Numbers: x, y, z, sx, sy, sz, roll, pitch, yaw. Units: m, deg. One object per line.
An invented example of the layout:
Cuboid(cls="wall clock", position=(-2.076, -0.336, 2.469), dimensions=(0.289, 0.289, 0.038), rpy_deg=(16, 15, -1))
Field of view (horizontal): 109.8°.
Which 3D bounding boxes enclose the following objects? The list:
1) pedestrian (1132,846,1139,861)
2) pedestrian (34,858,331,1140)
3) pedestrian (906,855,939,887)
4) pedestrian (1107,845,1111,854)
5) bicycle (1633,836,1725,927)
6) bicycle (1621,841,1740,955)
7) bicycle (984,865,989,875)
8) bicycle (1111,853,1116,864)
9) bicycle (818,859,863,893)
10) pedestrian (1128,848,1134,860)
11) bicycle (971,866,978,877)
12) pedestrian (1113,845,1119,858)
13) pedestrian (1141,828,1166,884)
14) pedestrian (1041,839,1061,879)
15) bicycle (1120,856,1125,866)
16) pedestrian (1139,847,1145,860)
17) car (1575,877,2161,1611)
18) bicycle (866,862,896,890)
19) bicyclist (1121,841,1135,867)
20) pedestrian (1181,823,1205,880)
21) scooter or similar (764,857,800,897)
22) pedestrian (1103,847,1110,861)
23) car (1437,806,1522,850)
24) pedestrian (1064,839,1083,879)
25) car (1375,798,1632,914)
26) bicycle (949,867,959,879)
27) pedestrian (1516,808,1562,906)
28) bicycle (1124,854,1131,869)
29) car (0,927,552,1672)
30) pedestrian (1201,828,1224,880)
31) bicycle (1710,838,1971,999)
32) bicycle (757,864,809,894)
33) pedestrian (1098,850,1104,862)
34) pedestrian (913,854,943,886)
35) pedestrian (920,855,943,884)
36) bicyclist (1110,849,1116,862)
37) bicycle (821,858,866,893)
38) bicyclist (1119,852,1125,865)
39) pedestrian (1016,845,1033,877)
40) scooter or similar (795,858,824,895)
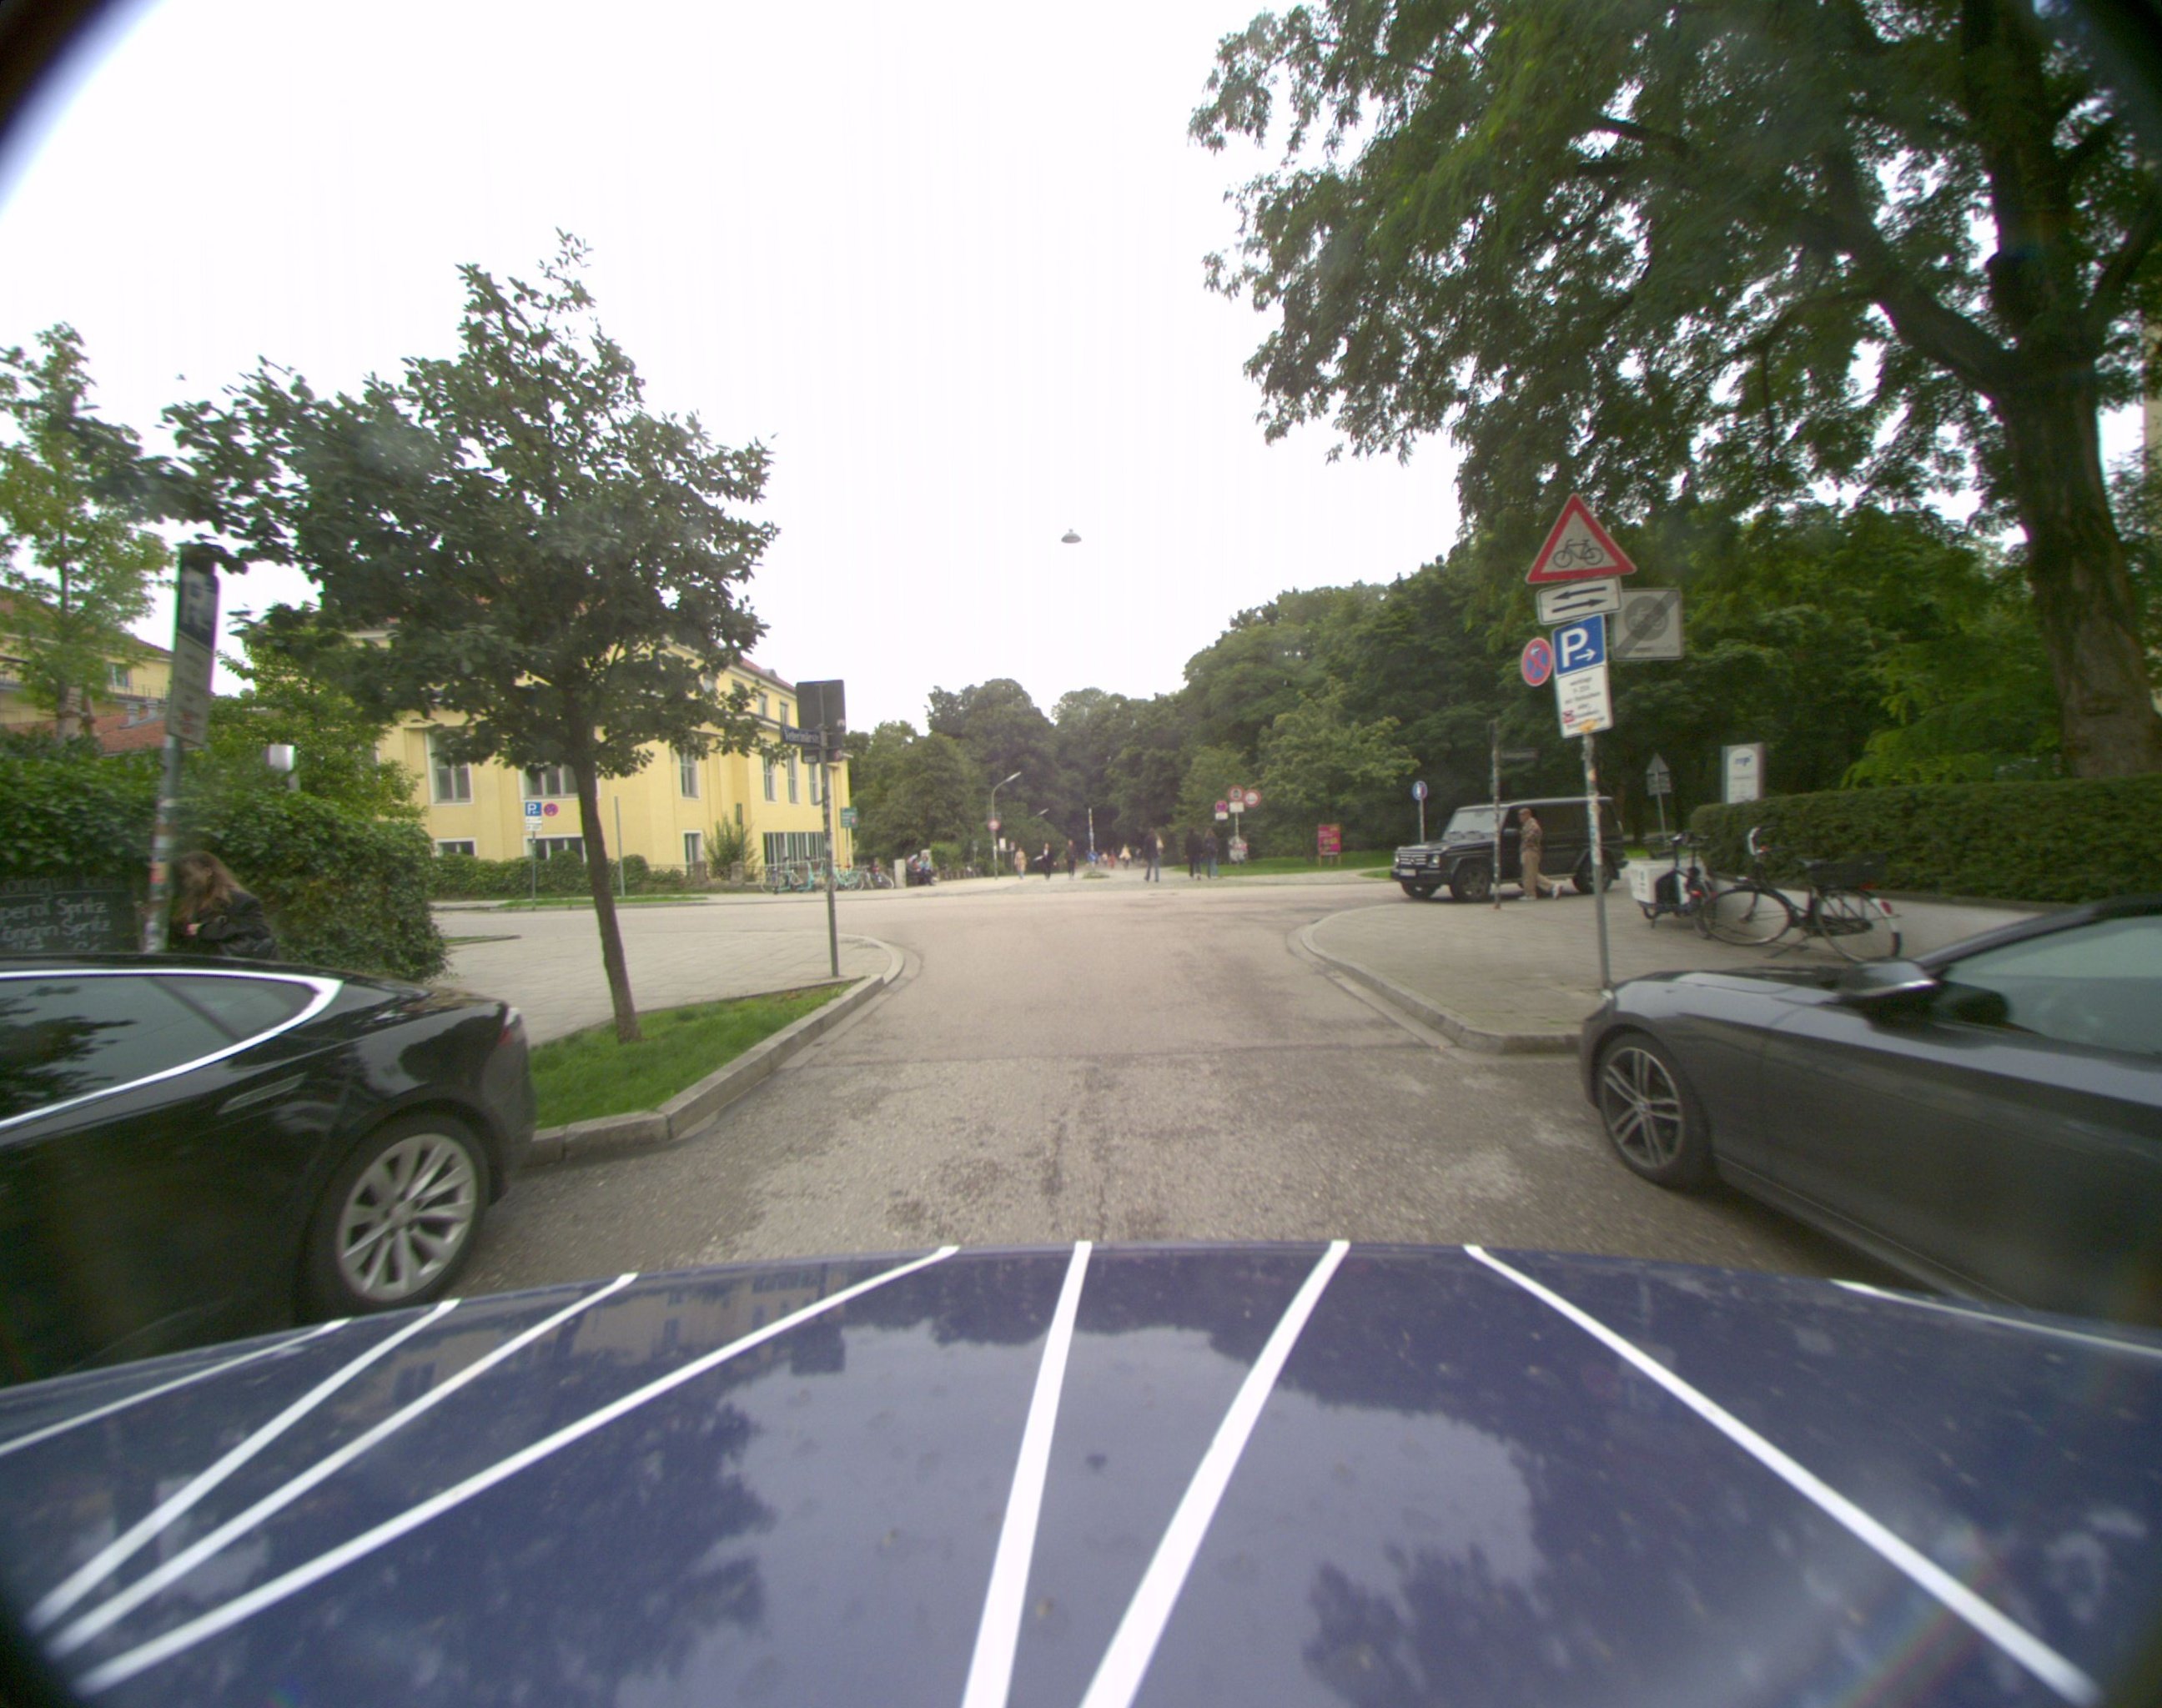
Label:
Cuboid(cls="pedestrian", position=(6.501, -0.062, 91.141), dimensions=(0.686, 1.662, 0.774), rpy_deg=(-4, -1, 2))
Cuboid(cls="pedestrian", position=(-5.749, 0.871, 4.942), dimensions=(0.706, 1.614, 0.880), rpy_deg=(-2, 3, 0))
Cuboid(cls="pedestrian", position=(-6.627, 0.701, 31.808), dimensions=(1.217, 1.240, 0.639), rpy_deg=(-4, -1, -9))
Cuboid(cls="pedestrian", position=(3.786, -0.586, 101.241), dimensions=(0.471, 1.259, 0.448), rpy_deg=(-2, 4, 1))
Cuboid(cls="bicycle", position=(8.582, 0.355, 10.874), dimensions=(1.955, 1.150, 0.582), rpy_deg=(-3, 0, -40))
Cuboid(cls="bicycle", position=(7.110, 0.459, 9.123), dimensions=(0.582, 1.120, 2.300), rpy_deg=(-3, 2, 25))
Cuboid(cls="bicycle", position=(-6.674, 1.120, 53.673), dimensions=(0.242, 0.653, 0.909), rpy_deg=(-1, 0, 2))
Cuboid(cls="bicycle", position=(3.400, 0.506, 80.741), dimensions=(0.464, 1.054, 1.760), rpy_deg=(-2, 4, 2))
Cuboid(cls="bicycle", position=(-8.599, 0.762, 27.218), dimensions=(0.202, 1.184, 1.658), rpy_deg=(-1, 0, 43))
Cuboid(cls="pedestrian", position=(7.391, 0.001, 112.692), dimensions=(0.742, 1.662, 0.922), rpy_deg=(-4, -1, 2))
Cuboid(cls="bicycle", position=(-6.893, 1.109, 49.137), dimensions=(0.215, 0.672, 0.909), rpy_deg=(-1, 0, 4))
Cuboid(cls="pedestrian", position=(4.677, -0.339, 102.280), dimensions=(0.686, 1.662, 0.774), rpy_deg=(-4, -1, 2))
Cuboid(cls="pedestrian", position=(2.445, 0.063, 25.747), dimensions=(0.751, 1.822, 1.115), rpy_deg=(-1, 0, 2))
Cuboid(cls="pedestrian", position=(-1.299, 0.207, 32.601), dimensions=(0.686, 1.662, 0.774), rpy_deg=(-4, -1, 2))
Cuboid(cls="bicycle", position=(4.311, 0.728, 79.454), dimensions=(0.464, 1.053, 1.762), rpy_deg=(-2, 0, 2))
Cuboid(cls="pedestrian", position=(7.827, -0.043, 97.363), dimensions=(0.686, 1.662, 0.774), rpy_deg=(-4, -1, 2))
Cuboid(cls="car", position=(3.109, 0.860, 1.438), dimensions=(1.750, 1.402, 4.097), rpy_deg=(-1, 1, 1))
Cuboid(cls="bicycle", position=(-7.582, 0.831, 28.896), dimensions=(0.307, 1.032, 1.656), rpy_deg=(-1, 0, 16))
Cuboid(cls="bicyclist", position=(3.380, 0.013, 54.615), dimensions=(0.856, 1.793, 0.766), rpy_deg=(-3, 2, 2))
Cuboid(cls="pedestrian", position=(3.843, -0.075, 26.120), dimensions=(0.707, 1.892, 0.804), rpy_deg=(-1, 0, 2))
Cuboid(cls="scooter or similar", position=(-9.863, 0.749, 25.126), dimensions=(0.396, 1.240, 1.391), rpy_deg=(-2, 0, 10))
Cuboid(cls="pedestrian", position=(3.324, -0.008, 98.812), dimensions=(0.686, 1.662, 0.774), rpy_deg=(-4, -1, 2))
Cuboid(cls="car", position=(21.809, -1.414, 41.599), dimensions=(3.958, 2.093, 1.908), rpy_deg=(-2, 3, 32))
Cuboid(cls="pedestrian", position=(-0.323, 0.240, 32.769), dimensions=(0.639, 1.662, 0.774), rpy_deg=(-4, -1, 2))
Cuboid(cls="car", position=(8.543, -0.031, 15.481), dimensions=(4.422, 1.990, 1.933), rpy_deg=(-3, 3, -13))
Cuboid(cls="bicycle", position=(-7.046, 1.046, 42.139), dimensions=(0.215, 0.672, 0.910), rpy_deg=(-1, 0, 13))
Cuboid(cls="pedestrian", position=(8.609, 0.067, 14.311), dimensions=(0.560, 1.788, 0.641), rpy_deg=(-2, 0, 19))
Cuboid(cls="bicycle", position=(3.348, 0.515, 54.685), dimensions=(0.483, 1.035, 1.946), rpy_deg=(-2, 1, 4))
Cuboid(cls="car", position=(-3.252, 1.102, 0.912), dimensions=(1.807, 1.402, 4.655), rpy_deg=(-3, 1, 1))
Cuboid(cls="pedestrian", position=(4.521, 0.004, 26.241), dimensions=(0.634, 1.771, 0.801), rpy_deg=(-1, 0, 2))
Cuboid(cls="bicycle", position=(6.682, 0.489, 6.841), dimensions=(0.563, 1.203, 1.854), rpy_deg=(-3, 2, 4))
Cuboid(cls="bicycle", position=(-10.202, 0.860, 26.027), dimensions=(1.656, 0.987, 0.248), rpy_deg=(-1, 0, -23))
Cuboid(cls="pedestrian", position=(2.727, 0.263, 102.138), dimensions=(0.686, 1.662, 0.774), rpy_deg=(-4, -1, 2))
Cuboid(cls="pedestrian", position=(-6.588, 0.677, 32.751), dimensions=(1.178, 1.285, 0.639), rpy_deg=(-4, -1, -9))
Cuboid(cls="pedestrian", position=(-6.556, 0.675, 33.403), dimensions=(0.887, 1.227, 0.550), rpy_deg=(-4, -1, -9))
Cuboid(cls="bicyclist", position=(3.404, 0.154, 81.120), dimensions=(0.564, 1.259, 0.761), rpy_deg=(-2, 4, 1))
Cuboid(cls="bicycle", position=(-8.462, 0.752, 27.074), dimensions=(0.169, 1.191, 1.658), rpy_deg=(-1, 0, 43))
Cuboid(cls="bicyclist", position=(4.289, 0.447, 79.430), dimensions=(0.564, 1.366, 0.762), rpy_deg=(-2, 0, 1))
Cuboid(cls="pedestrian", position=(-3.071, 0.381, 41.373), dimensions=(0.653, 1.676, 0.976), rpy_deg=(-4, -1, 2))
Cuboid(cls="scooter or similar", position=(-9.014, 0.740, 25.245), dimensions=(1.114, 1.206, 0.324), rpy_deg=(-2, 1, 38))
